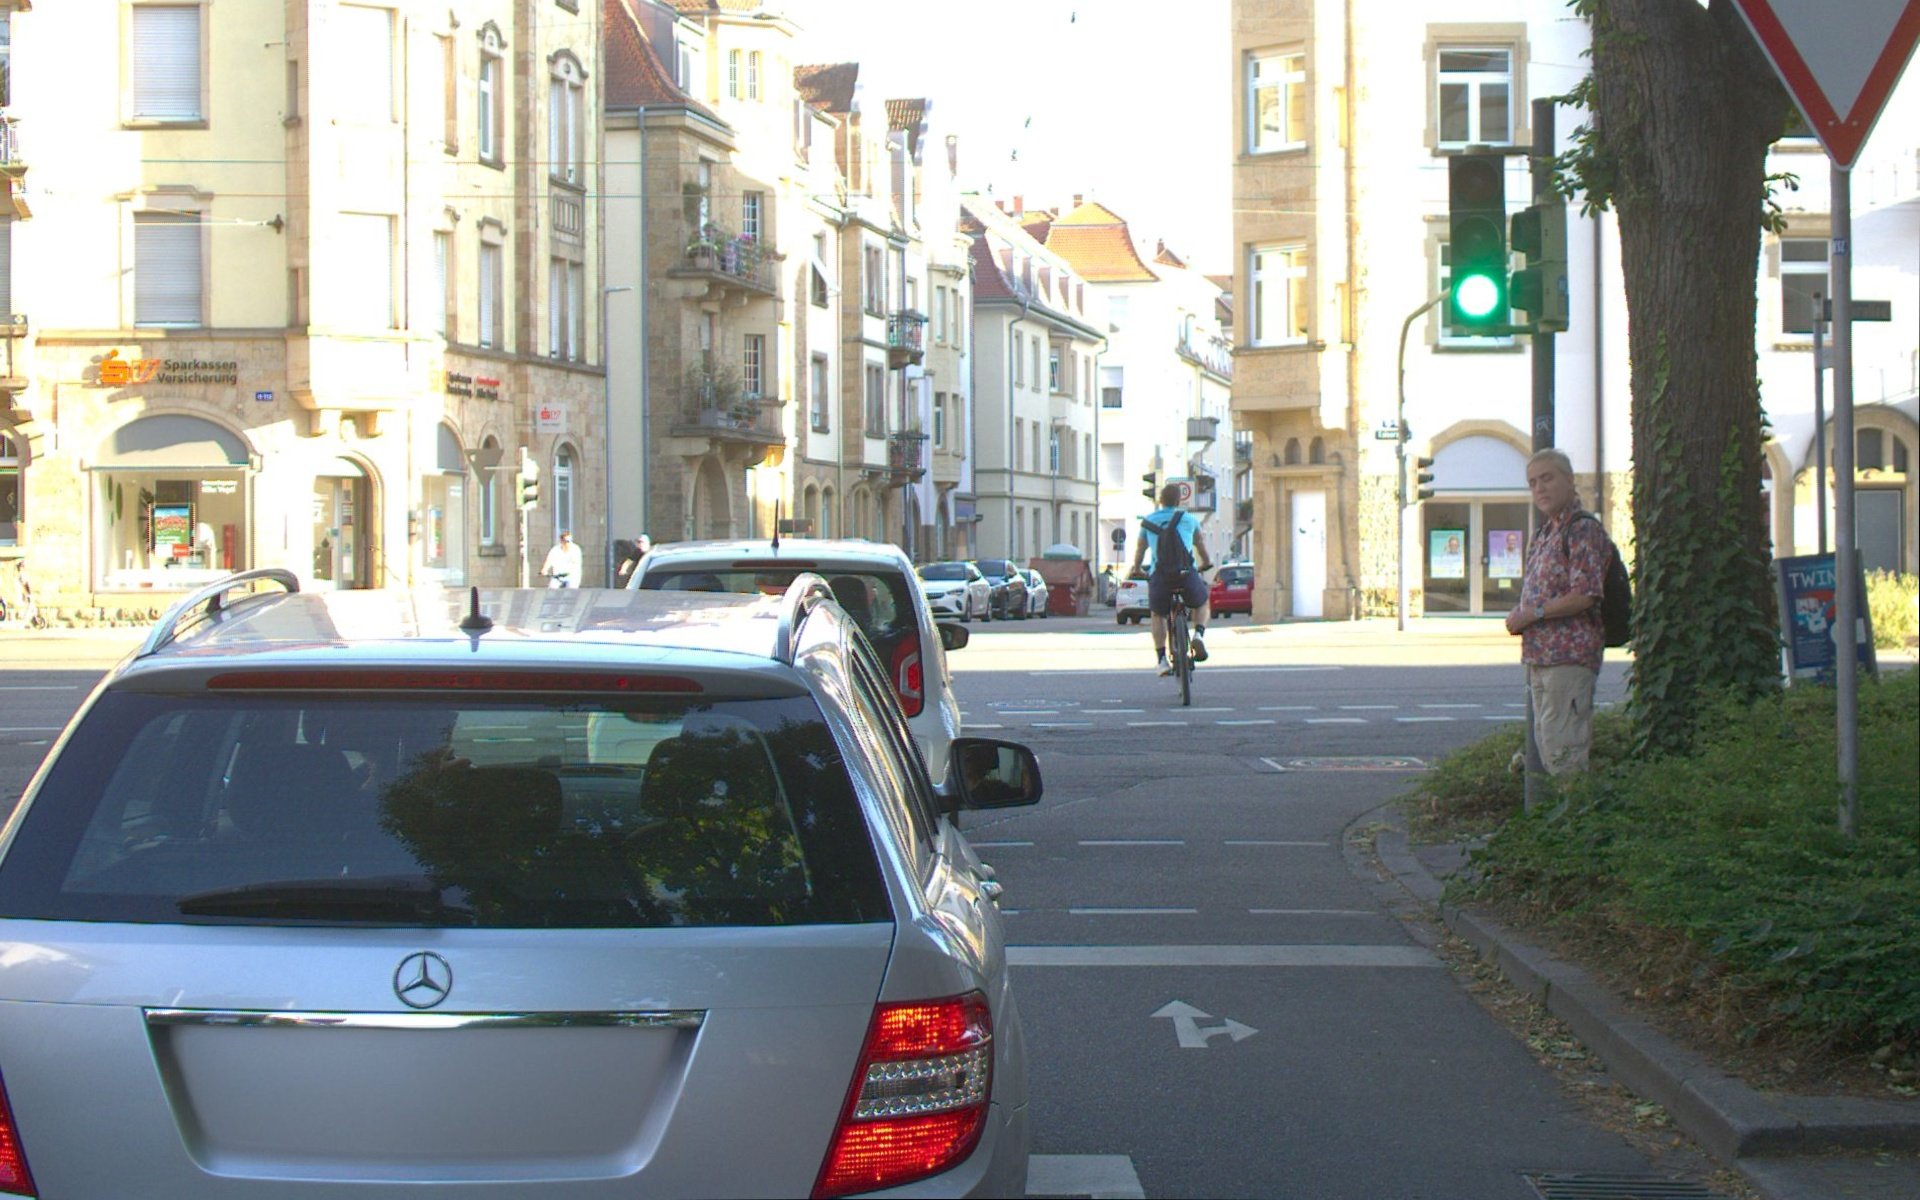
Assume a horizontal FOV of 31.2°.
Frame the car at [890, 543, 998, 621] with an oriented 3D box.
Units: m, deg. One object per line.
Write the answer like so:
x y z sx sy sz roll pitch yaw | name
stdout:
-0.347 -0.438 79.218 1.687 1.716 3.998 0 1 12 | car

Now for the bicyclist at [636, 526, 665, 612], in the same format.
-5.488 -0.555 60.952 0.466 1.515 0.694 0 1 -2 | bicyclist

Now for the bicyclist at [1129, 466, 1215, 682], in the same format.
1.764 -0.220 28.684 0.646 1.769 0.831 1 1 1 | bicyclist

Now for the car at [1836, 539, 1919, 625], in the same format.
13.033 -0.242 43.854 3.364 1.065 1.380 0 1 0 | car

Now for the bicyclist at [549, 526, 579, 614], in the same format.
-6.873 -0.527 59.725 0.466 1.509 0.655 0 1 -2 | bicyclist

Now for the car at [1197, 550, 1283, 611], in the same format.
7.842 -0.553 95.959 1.722 1.473 3.998 -4 1 14 | car

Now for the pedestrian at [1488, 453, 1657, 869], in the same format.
2.748 0.263 15.463 0.631 1.838 0.575 0 1 -3 | pedestrian

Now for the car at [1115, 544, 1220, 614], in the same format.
4.868 -0.510 80.046 1.722 1.473 3.998 -2 1 13 | car

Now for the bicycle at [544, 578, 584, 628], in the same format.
-6.882 0.043 59.747 0.568 0.832 1.566 0 1 -2 | bicycle

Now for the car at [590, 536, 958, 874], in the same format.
-0.799 0.405 16.178 1.533 1.386 3.599 0 1 -1 | car

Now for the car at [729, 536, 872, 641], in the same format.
-3.045 -0.246 66.511 1.938 1.952 4.149 0 1 9 | car

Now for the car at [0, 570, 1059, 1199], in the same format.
-0.776 0.693 6.299 1.690 1.424 3.493 1 1 -2 | car

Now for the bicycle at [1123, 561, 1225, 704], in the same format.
1.769 0.253 28.668 0.742 1.114 2.013 1 1 1 | bicycle

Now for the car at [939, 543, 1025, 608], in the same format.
0.641 -0.688 96.550 1.651 1.777 3.861 0 0 12 | car

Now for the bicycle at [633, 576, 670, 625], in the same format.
-5.463 0.000 60.972 0.568 0.832 1.566 0 1 -2 | bicycle
